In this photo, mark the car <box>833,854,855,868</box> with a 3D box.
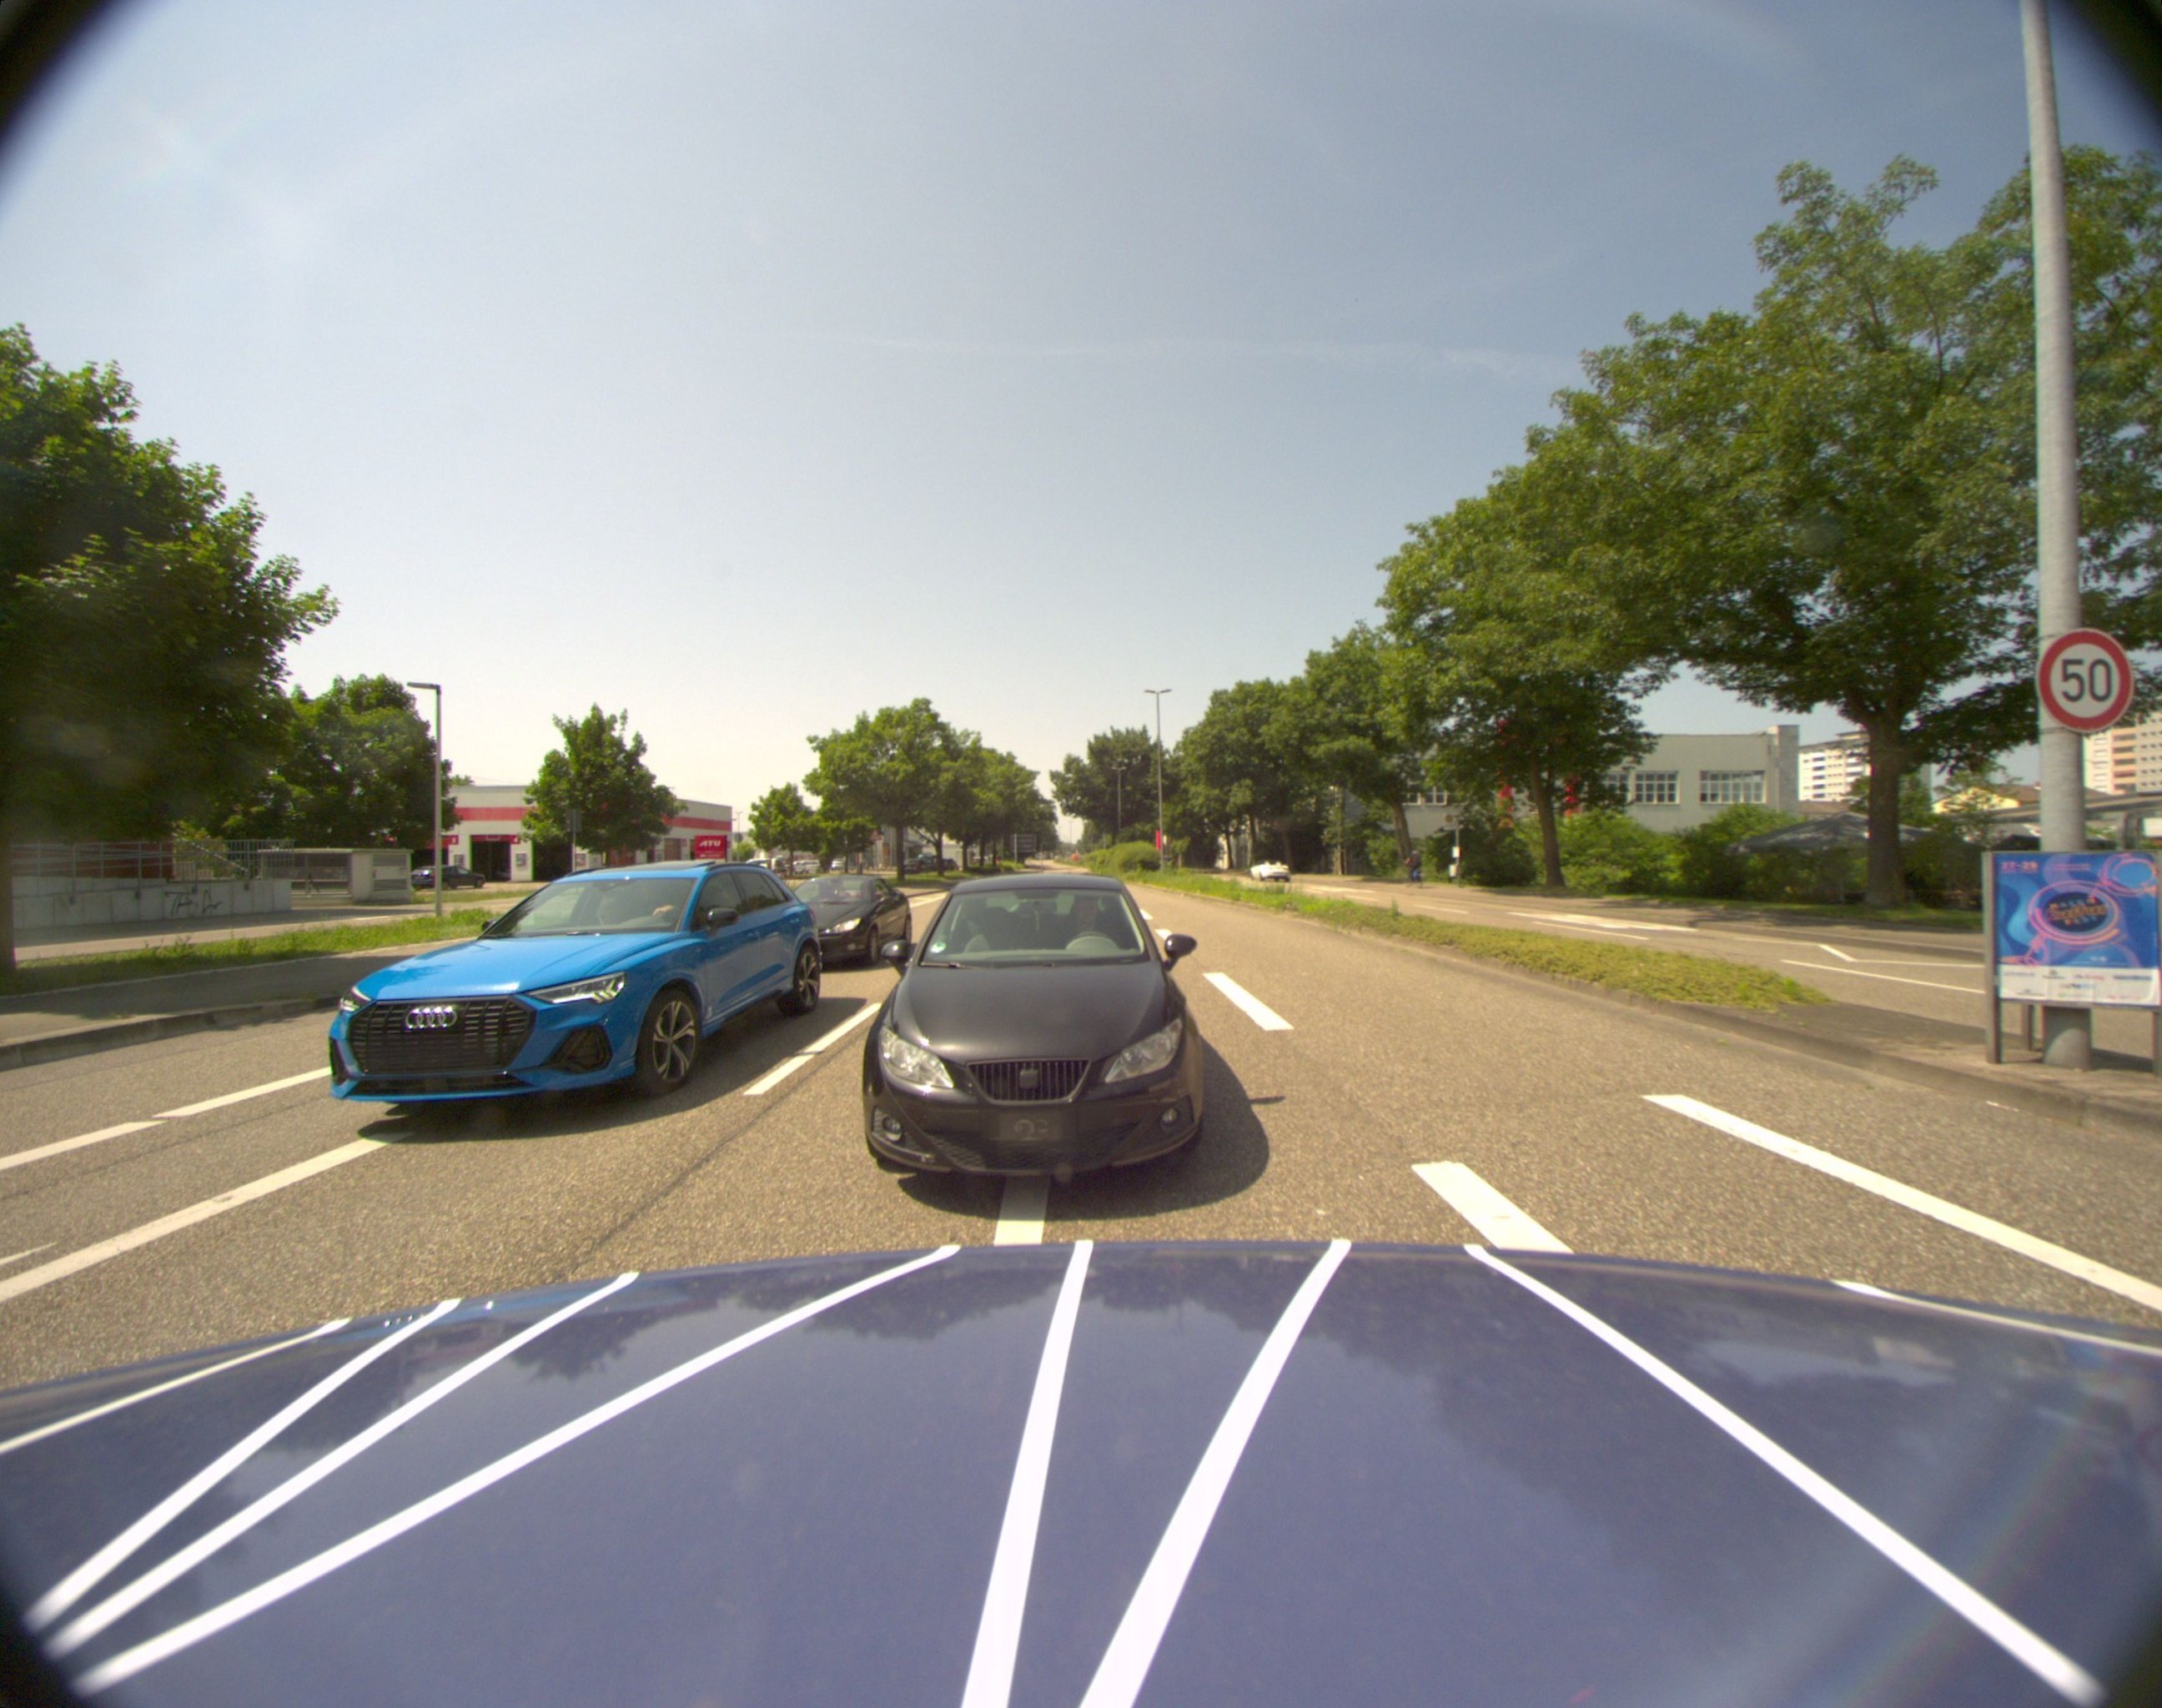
[{"bbox_3d":[-27.433,0.779,88.142,1.759,1.586,3.997,0,0,-7],"label":"car"}]

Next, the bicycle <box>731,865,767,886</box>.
[{"bbox_3d":[-18.563,1.199,42.520,1.784,1.117,0.514,0,0,-6],"label":"bicycle"}]

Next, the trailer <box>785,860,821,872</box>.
[{"bbox_3d":[-24.675,1.035,67.428,2.642,1.046,1.578,0,0,-2],"label":"trailer"}]

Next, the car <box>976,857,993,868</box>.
[{"bbox_3d":[-13.288,1.154,104.773,1.719,1.458,4.000,0,0,1],"label":"car"}]

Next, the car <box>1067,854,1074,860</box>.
[{"bbox_3d":[-3.328,0.868,236.042,1.999,1.692,4.000,0,0,0],"label":"car"}]

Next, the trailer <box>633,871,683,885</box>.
[{"bbox_3d":[-24.060,1.343,43.286,2.137,0.757,1.267,-1,0,1],"label":"trailer"}]

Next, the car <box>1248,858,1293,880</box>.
[{"bbox_3d":[12.058,0.933,48.638,1.722,1.255,4.301,2,0,0],"label":"car"}]

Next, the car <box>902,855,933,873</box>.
[{"bbox_3d":[-13.525,0.803,62.870,1.642,1.363,4.000,0,0,1],"label":"car"}]

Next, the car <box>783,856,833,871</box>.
[{"bbox_3d":[-25.073,0.893,69.770,3.998,1.293,1.689,0,0,-3],"label":"car"}]

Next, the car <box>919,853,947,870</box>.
[{"bbox_3d":[-13.439,0.646,69.097,1.719,1.458,4.000,0,0,1],"label":"car"}]

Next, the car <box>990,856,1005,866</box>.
[{"bbox_3d":[-13.028,1.045,118.605,1.719,1.458,4.000,0,0,1],"label":"car"}]

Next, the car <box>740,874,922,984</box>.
[{"bbox_3d":[-3.867,1.089,12.494,1.642,1.336,4.000,-3,0,0],"label":"car"}]

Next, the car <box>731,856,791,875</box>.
[{"bbox_3d":[-25.289,0.912,60.052,3.998,1.394,1.747,0,0,-3],"label":"car"}]

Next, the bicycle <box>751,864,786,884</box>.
[{"bbox_3d":[-18.301,1.165,44.532,1.784,1.117,0.514,0,0,-6],"label":"bicycle"}]

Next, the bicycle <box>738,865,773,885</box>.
[{"bbox_3d":[-18.478,1.181,43.146,1.784,1.117,0.514,0,0,-6],"label":"bicycle"}]

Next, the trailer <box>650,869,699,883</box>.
[{"bbox_3d":[-23.991,1.272,44.928,2.137,0.757,1.394,-1,0,1],"label":"trailer"}]

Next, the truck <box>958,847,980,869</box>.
[{"bbox_3d":[-13.554,0.504,92.173,1.904,2.552,4.000,0,0,2],"label":"truck"}]

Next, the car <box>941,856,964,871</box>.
[{"bbox_3d":[-13.571,0.959,80.445,1.719,1.504,4.000,0,0,1],"label":"car"}]

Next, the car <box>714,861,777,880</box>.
[{"bbox_3d":[-25.517,1.219,57.824,3.998,1.394,1.747,0,0,-2],"label":"car"}]

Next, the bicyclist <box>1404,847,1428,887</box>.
[{"bbox_3d":[15.151,0.580,34.353,0.651,1.759,0.927,-1,1,0],"label":"bicyclist"}]

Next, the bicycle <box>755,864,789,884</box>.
[{"bbox_3d":[-18.392,1.186,45.251,1.784,1.117,0.514,0,0,-6],"label":"bicycle"}]

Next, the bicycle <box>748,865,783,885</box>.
[{"bbox_3d":[-18.207,1.202,43.892,1.784,1.117,0.514,0,0,-6],"label":"bicycle"}]

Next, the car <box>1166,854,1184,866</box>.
[{"bbox_3d":[11.744,0.772,95.044,1.710,1.444,3.891,2,0,0],"label":"car"}]

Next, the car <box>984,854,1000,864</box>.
[{"bbox_3d":[-13.142,0.771,112.277,1.719,1.458,4.000,0,0,1],"label":"car"}]

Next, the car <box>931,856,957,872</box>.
[{"bbox_3d":[-13.344,0.991,74.271,1.719,1.511,4.000,0,0,1],"label":"car"}]

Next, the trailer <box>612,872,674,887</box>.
[{"bbox_3d":[-23.792,1.360,41.317,2.467,0.757,1.449,-1,0,1],"label":"trailer"}]

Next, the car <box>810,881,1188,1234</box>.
[{"bbox_3d":[-0.373,0.959,5.325,1.642,1.395,4.000,0,0,-1],"label":"car"}]

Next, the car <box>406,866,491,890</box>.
[{"bbox_3d":[-38.174,1.419,45.987,1.717,1.364,4.145,0,0,0],"label":"car"}]

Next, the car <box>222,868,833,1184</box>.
[{"bbox_3d":[-3.716,0.975,6.326,1.842,1.586,4.399,-1,0,0],"label":"car"}]

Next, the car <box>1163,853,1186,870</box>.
[{"bbox_3d":[9.217,0.688,75.398,1.691,1.591,3.884,2,0,-1],"label":"car"}]

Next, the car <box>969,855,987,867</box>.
[{"bbox_3d":[-13.320,0.847,98.009,1.719,1.458,4.000,0,0,1],"label":"car"}]

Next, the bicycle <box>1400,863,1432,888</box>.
[{"bbox_3d":[15.162,0.965,34.425,0.656,1.045,1.884,-1,0,1],"label":"bicycle"}]
